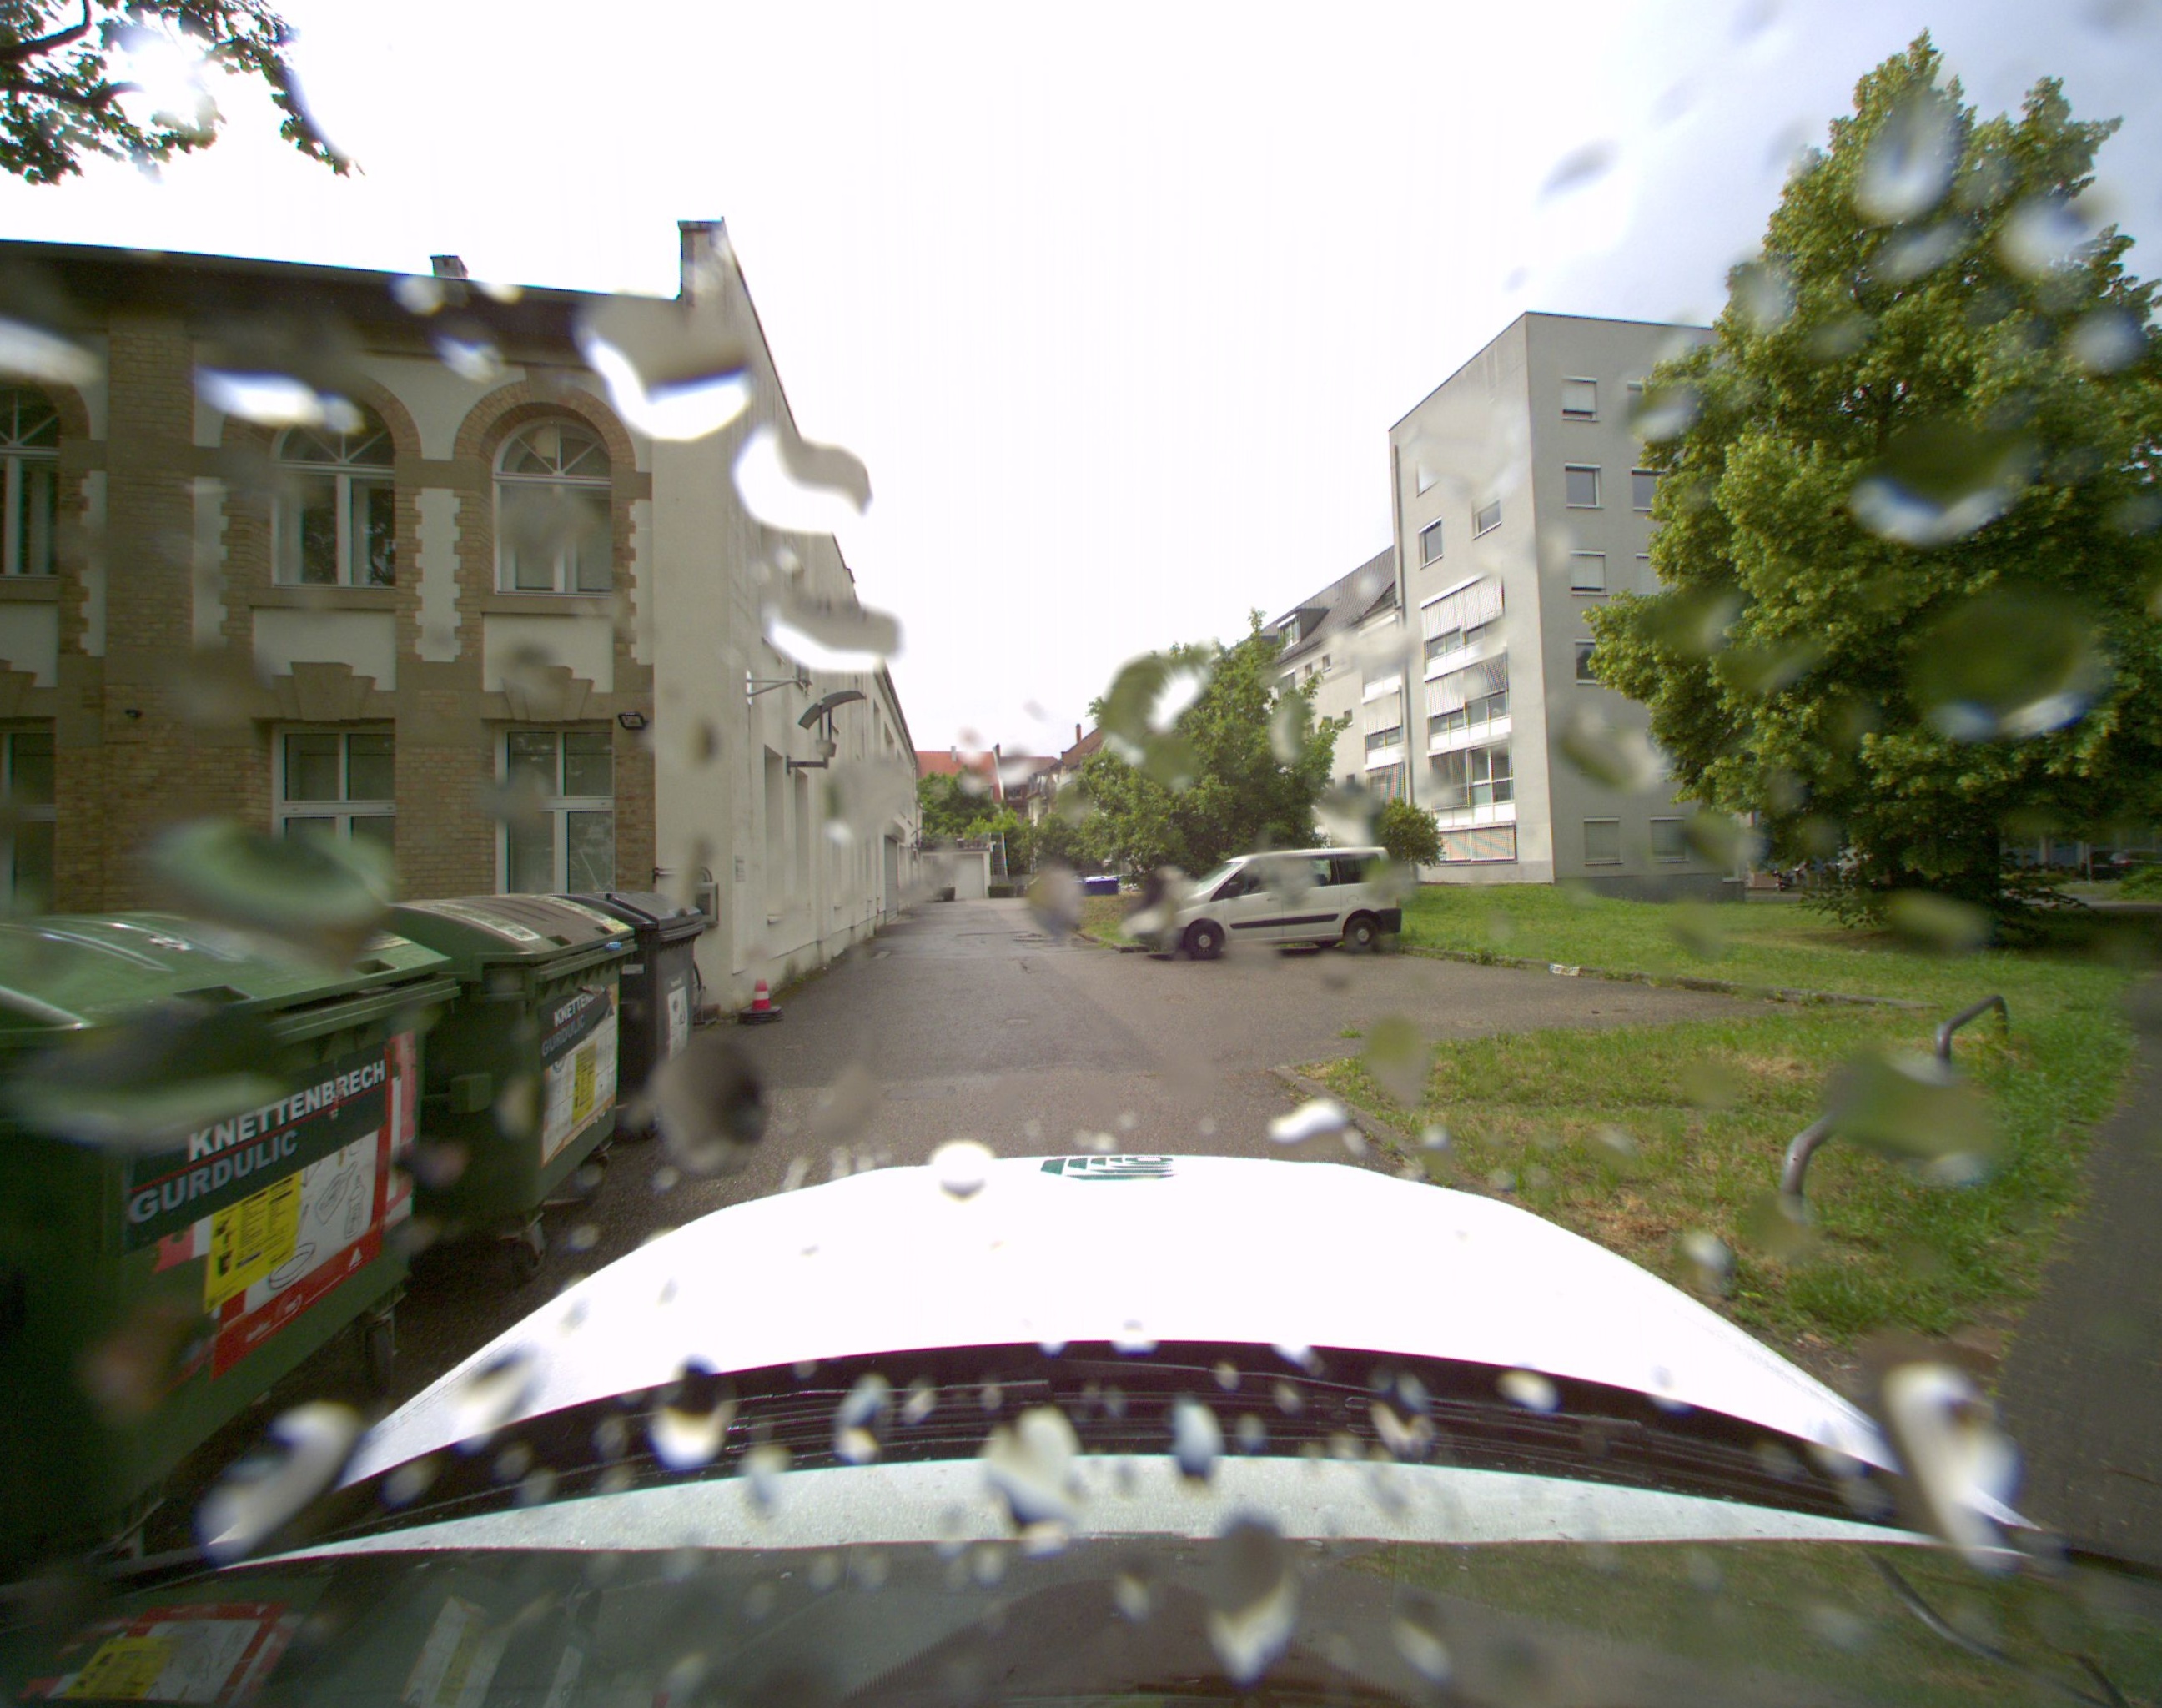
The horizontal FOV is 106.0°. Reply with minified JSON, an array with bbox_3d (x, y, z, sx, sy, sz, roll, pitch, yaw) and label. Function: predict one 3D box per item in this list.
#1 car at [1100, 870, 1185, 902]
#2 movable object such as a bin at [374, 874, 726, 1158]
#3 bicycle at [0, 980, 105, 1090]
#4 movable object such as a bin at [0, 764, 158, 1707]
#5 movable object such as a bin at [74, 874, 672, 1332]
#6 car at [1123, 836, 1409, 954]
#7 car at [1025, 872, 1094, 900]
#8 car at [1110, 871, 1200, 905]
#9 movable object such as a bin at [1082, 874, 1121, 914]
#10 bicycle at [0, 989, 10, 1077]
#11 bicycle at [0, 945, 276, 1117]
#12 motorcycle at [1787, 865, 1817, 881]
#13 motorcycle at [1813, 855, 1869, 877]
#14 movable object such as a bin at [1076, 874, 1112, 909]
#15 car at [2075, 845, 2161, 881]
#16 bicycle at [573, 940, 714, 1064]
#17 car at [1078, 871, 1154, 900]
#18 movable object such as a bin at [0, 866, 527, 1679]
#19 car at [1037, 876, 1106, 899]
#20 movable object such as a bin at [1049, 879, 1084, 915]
[{"bbox_3d":[3.175,1.663,42.549,4.084,1.458,1.660,-2,-3,-13],"label":"car"},{"bbox_3d":[-3.115,0.864,5.048,1.359,1.471,1.361,0,-1,-10],"label":"movable object such as a bin"},{"bbox_3d":[-9.255,1.575,6.599,0.451,0.799,2.051,0,-1,-8],"label":"bicycle"},{"bbox_3d":[-2.256,0.585,0.643,1.359,1.471,1.460,0,-1,-10],"label":"movable object such as a bin"},{"bbox_3d":[-2.698,0.826,3.445,1.359,1.471,1.361,0,-1,-10],"label":"movable object such as a bin"},{"bbox_3d":[3.390,0.747,15.499,4.930,2.014,1.995,-1,-2,-6],"label":"car"},{"bbox_3d":[-1.628,2.365,61.056,4.719,1.833,2.099,-2,-1,-16],"label":"car"},{"bbox_3d":[3.560,1.644,39.686,3.988,1.354,1.784,-3,-2,-10],"label":"car"},{"bbox_3d":[0.767,1.481,30.624,1.275,1.483,1.098,0,-1,-10],"label":"movable object such as a bin"},{"bbox_3d":[-10.043,1.635,6.516,0.451,0.799,2.051,0,-1,-8],"label":"bicycle"},{"bbox_3d":[-7.919,1.386,6.865,0.451,1.038,2.051,0,-1,-8],"label":"bicycle"},{"bbox_3d":[36.290,0.950,41.006,1.440,0.771,0.329,0,-1,-11],"label":"motorcycle"},{"bbox_3d":[40.294,0.628,43.217,0.417,1.143,2.139,1,-2,-45],"label":"motorcycle"},{"bbox_3d":[0.507,1.467,32.268,1.229,1.317,1.052,-2,-1,-10],"label":"movable object such as a bin"},{"bbox_3d":[51.149,0.461,39.642,3.969,1.709,1.779,0,-1,-10],"label":"car"},{"bbox_3d":[-3.952,1.289,7.525,0.451,0.799,2.051,0,-1,-8],"label":"bicycle"},{"bbox_3d":[2.029,1.835,47.883,4.103,1.455,1.824,-2,-2,-14],"label":"car"},{"bbox_3d":[-2.521,0.767,2.073,1.359,1.471,1.347,0,-1,-10],"label":"movable object such as a bin"},{"bbox_3d":[-0.655,2.262,55.535,4.363,1.348,1.850,-2,-1,-16],"label":"car"},{"bbox_3d":[-0.553,1.594,30.440,1.174,1.317,1.052,0,-1,-10],"label":"movable object such as a bin"}]
